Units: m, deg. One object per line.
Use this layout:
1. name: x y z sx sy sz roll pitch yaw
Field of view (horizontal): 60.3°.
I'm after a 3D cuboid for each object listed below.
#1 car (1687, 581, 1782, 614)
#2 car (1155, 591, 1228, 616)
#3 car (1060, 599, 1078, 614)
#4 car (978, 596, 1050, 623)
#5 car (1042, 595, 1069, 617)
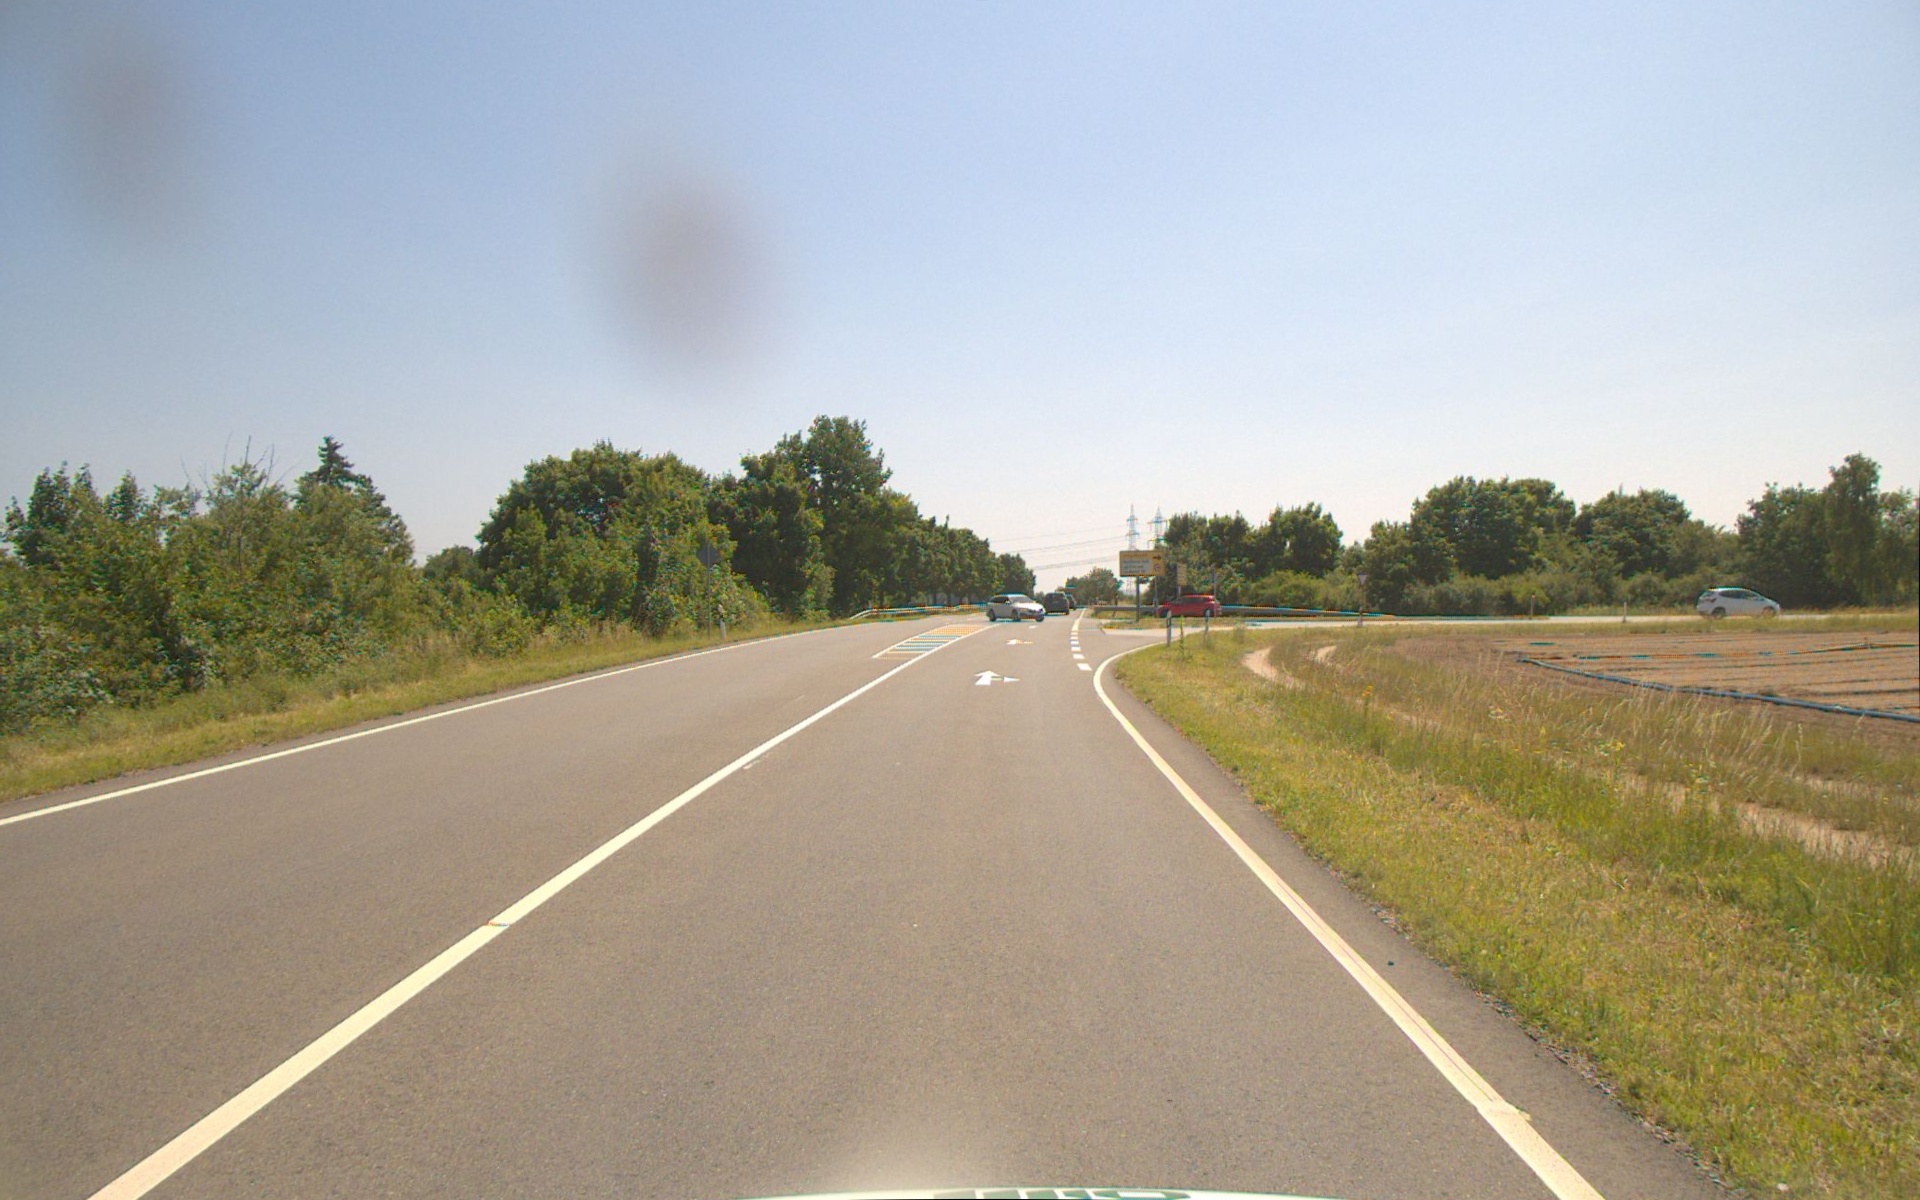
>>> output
1. car: 40.995 -0.136 87.615 4.042 1.652 2.072 -1 0 3
2. car: 13.718 0.230 97.966 4.065 1.443 1.780 0 -1 18
3. car: 10.314 0.585 156.814 1.609 1.364 4.041 1 0 2
4. car: 2.991 0.532 92.729 1.817 1.443 4.665 1 0 -31
5. car: 6.950 0.459 120.620 1.845 1.544 4.041 1 0 2
